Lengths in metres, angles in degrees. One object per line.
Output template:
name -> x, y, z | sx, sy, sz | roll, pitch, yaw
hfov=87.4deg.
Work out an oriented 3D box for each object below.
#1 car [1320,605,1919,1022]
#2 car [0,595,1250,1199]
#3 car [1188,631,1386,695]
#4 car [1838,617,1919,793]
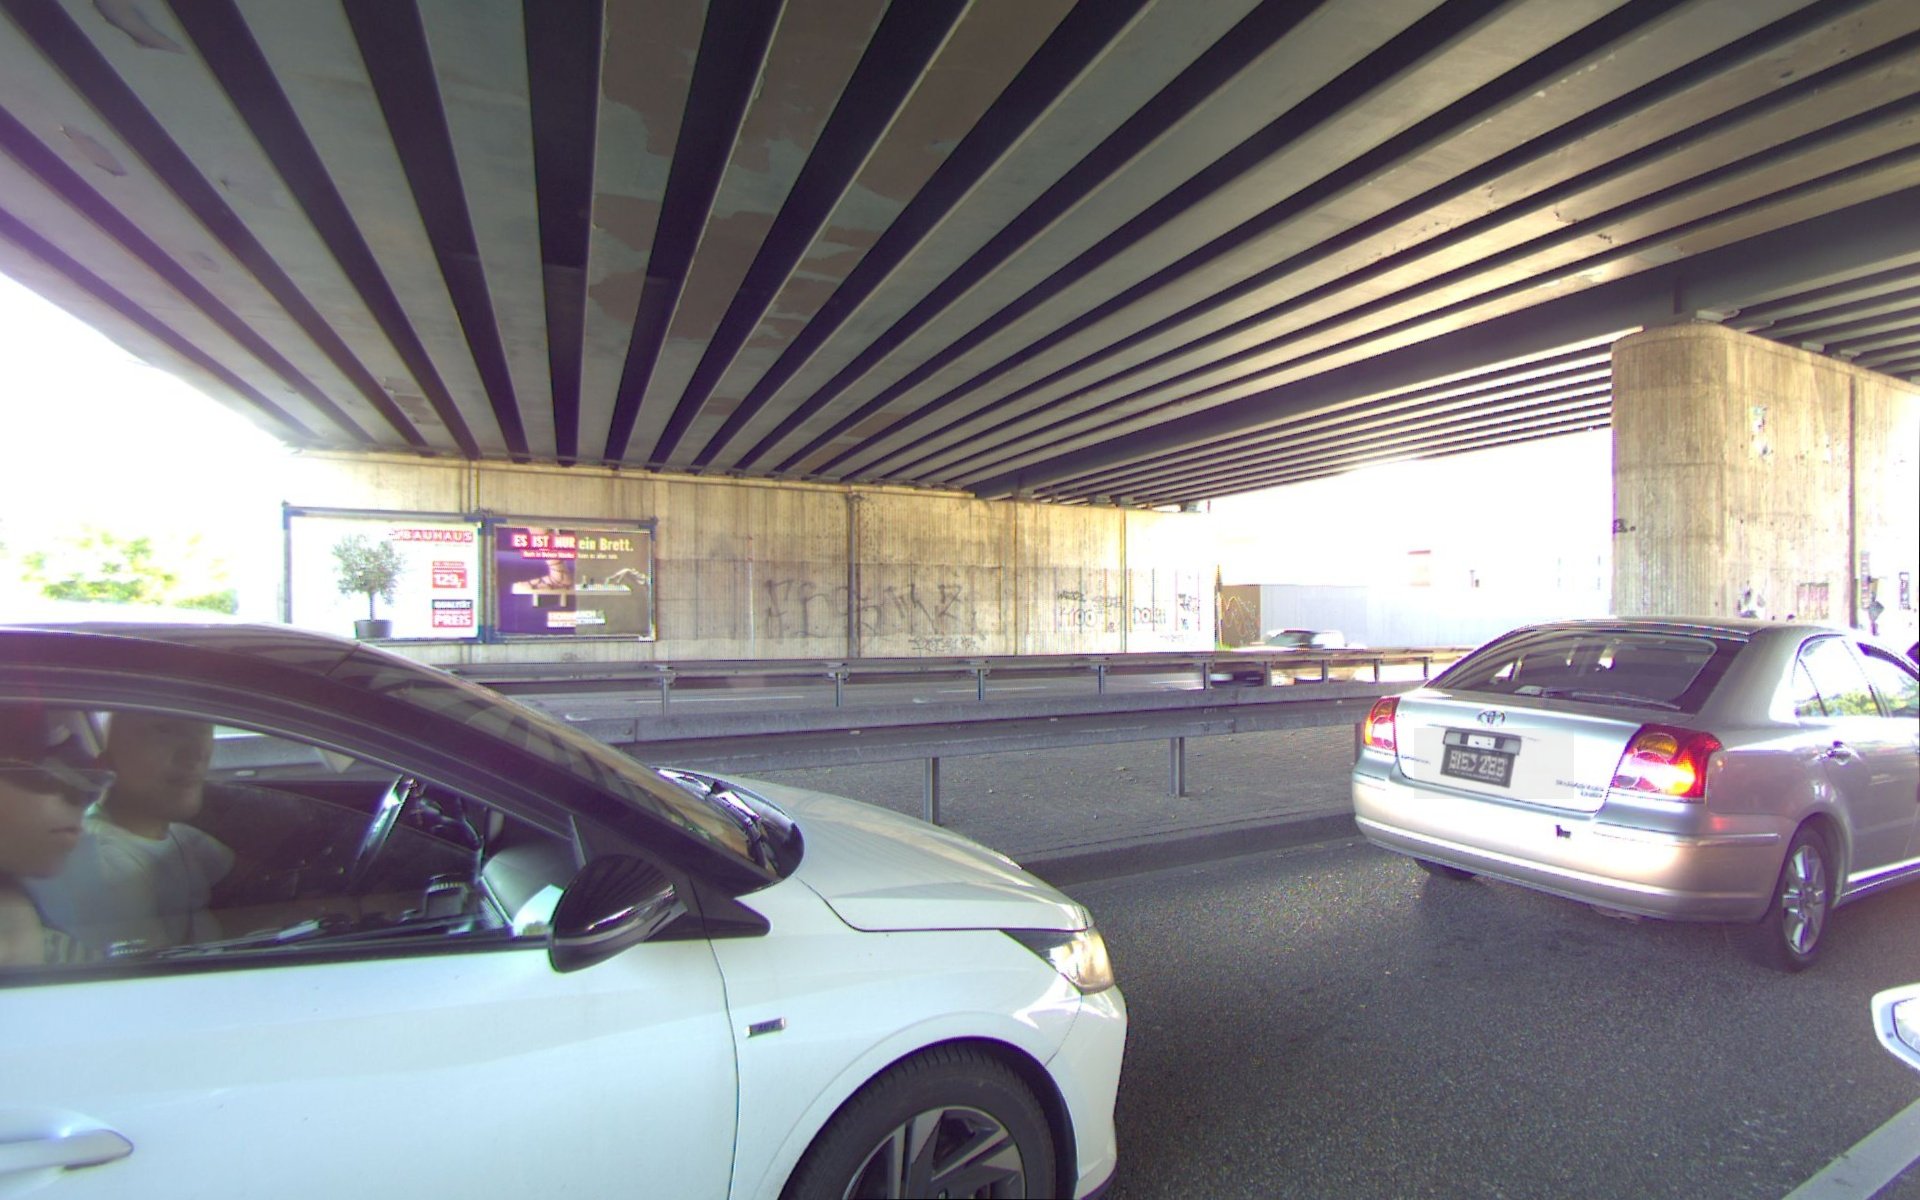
car -> 4.114, 0.808, 5.461 | 4.347, 1.474, 1.688 | 1, 0, -31
car -> -1.402, 0.717, 2.007 | 3.829, 1.422, 1.722 | 2, -1, -33
car -> 6.661, 1.220, 20.370 | 3.955, 1.191, 1.675 | 1, -2, -32
car -> 9.610, 0.899, 8.893 | 3.769, 1.429, 1.684 | 1, 0, -31
